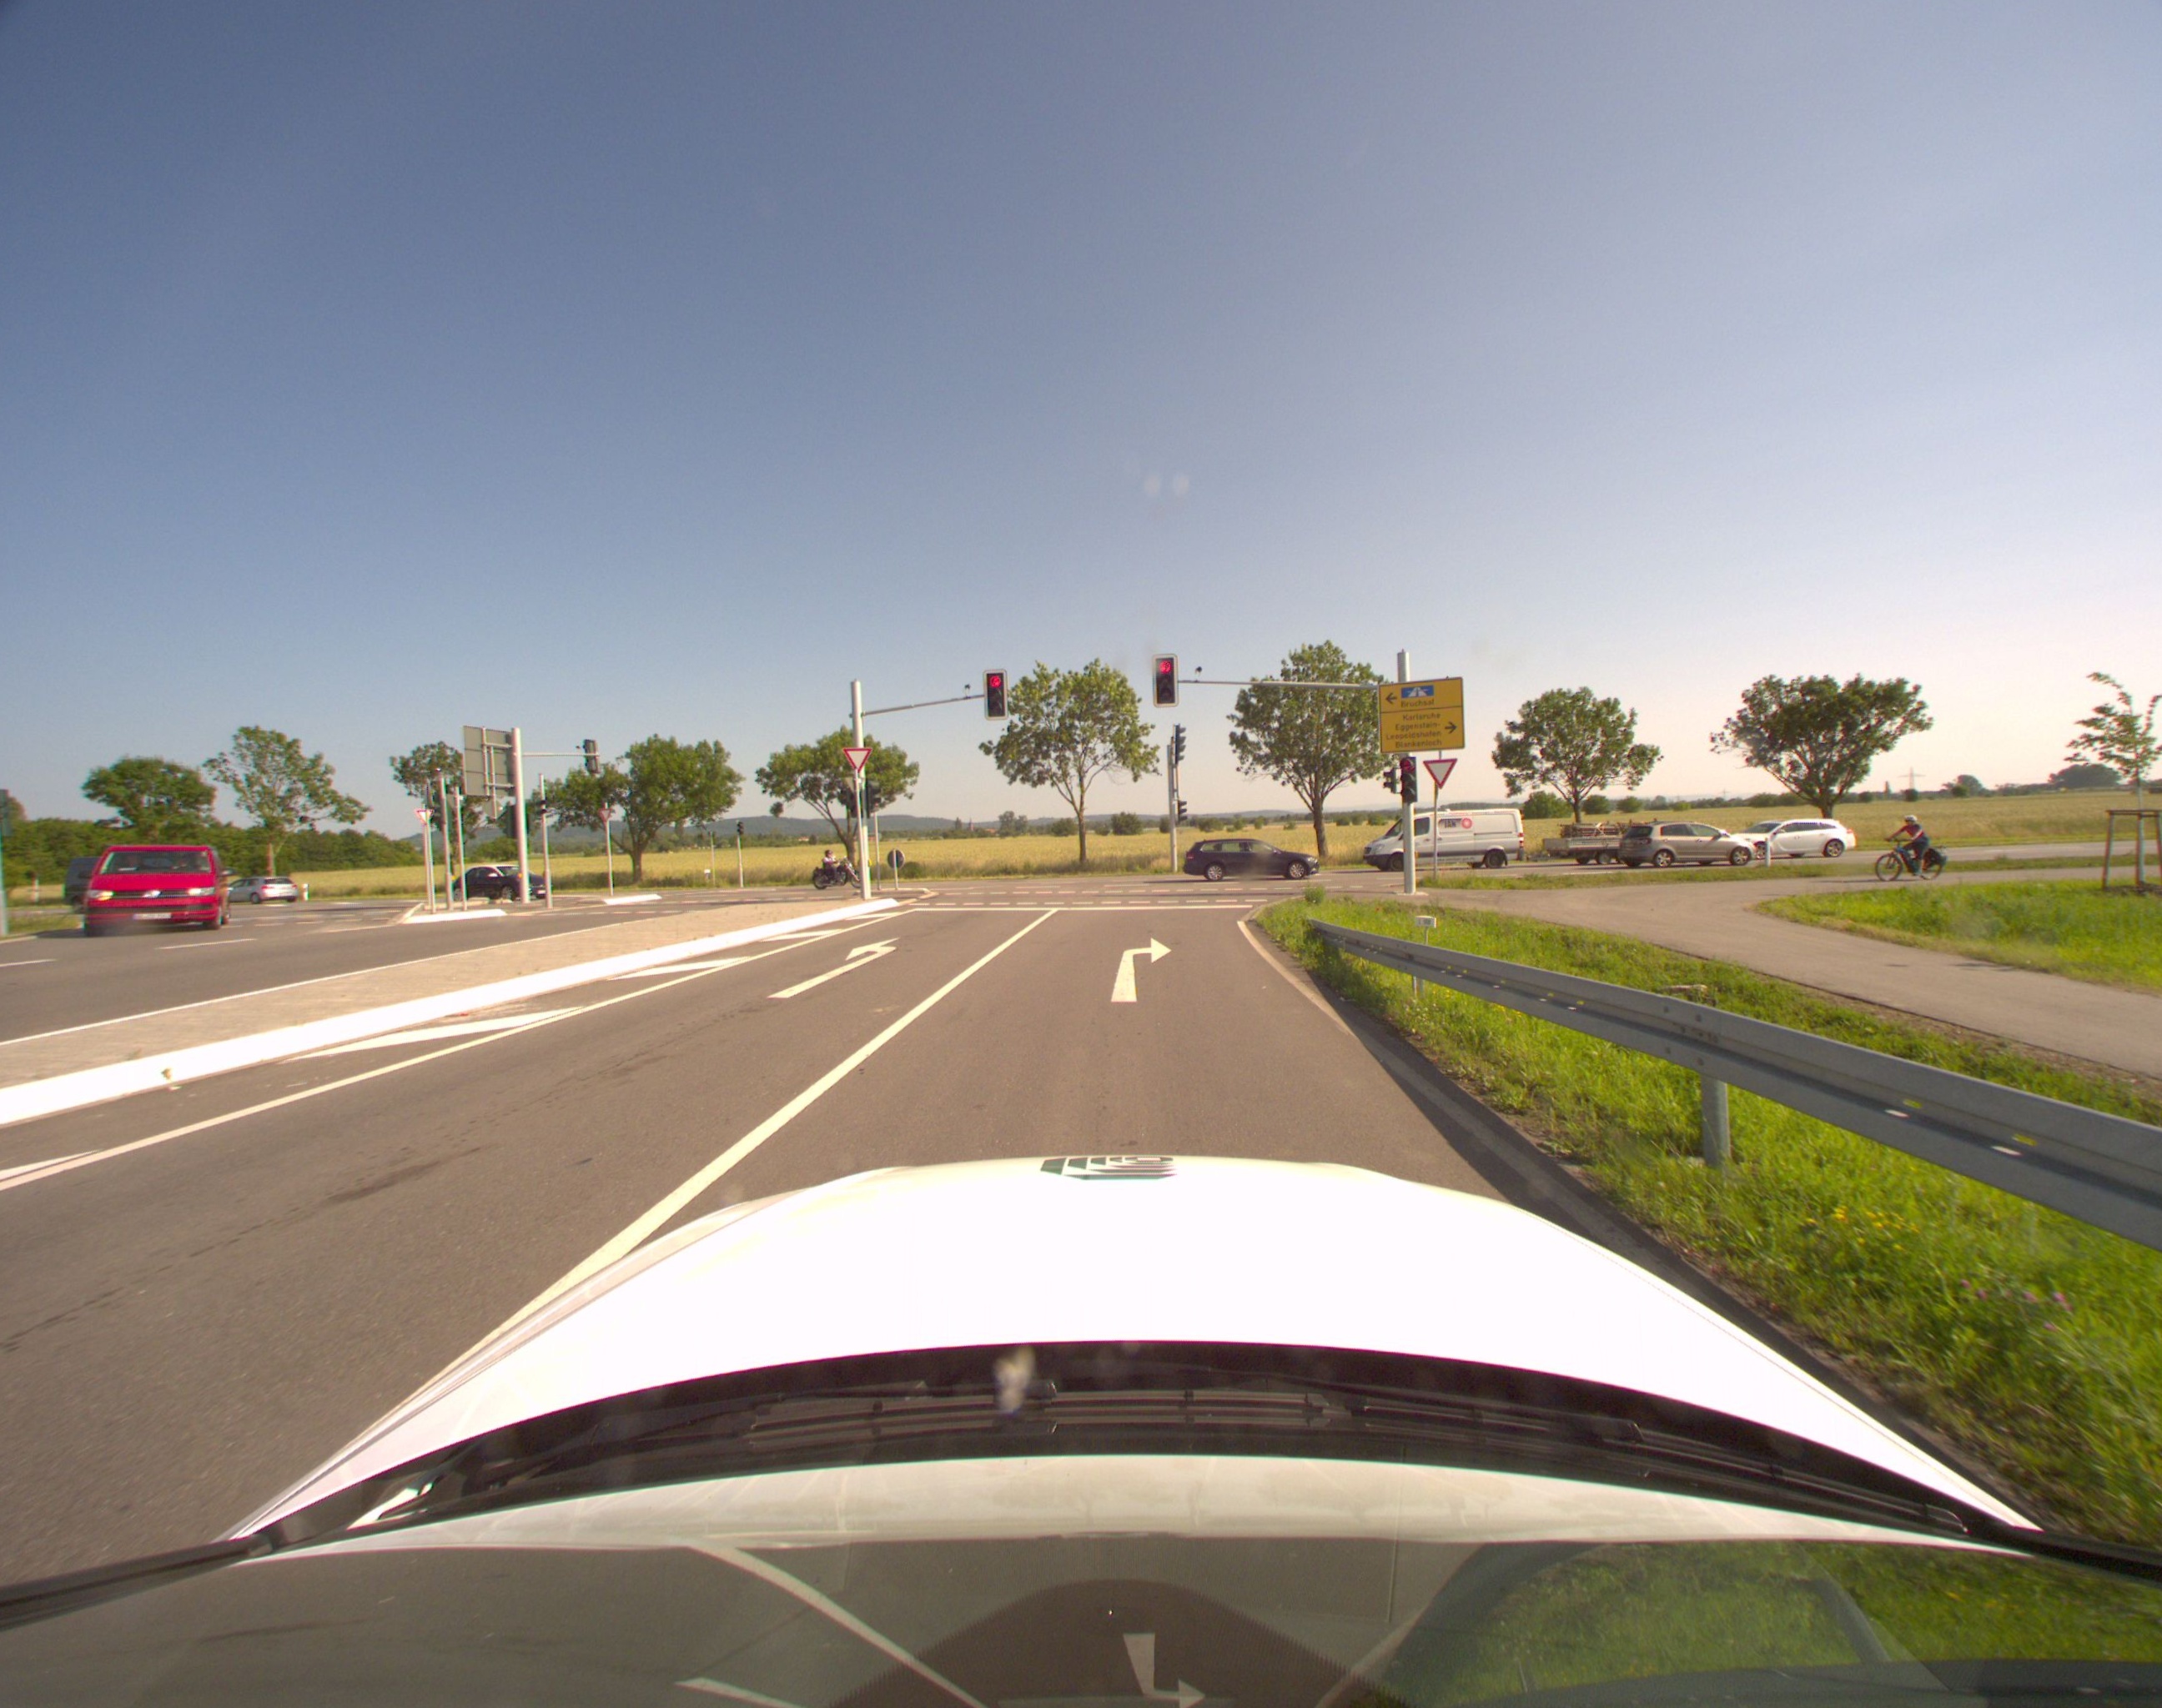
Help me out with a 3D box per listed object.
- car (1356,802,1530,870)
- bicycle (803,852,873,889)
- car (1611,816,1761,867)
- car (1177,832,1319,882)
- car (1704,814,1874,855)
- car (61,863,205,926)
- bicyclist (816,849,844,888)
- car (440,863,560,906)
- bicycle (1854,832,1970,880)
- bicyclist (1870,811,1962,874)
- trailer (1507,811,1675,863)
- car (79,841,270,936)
[{"bbox_3d":[14.102,-0.686,31.979,5.931,2.492,2.002,-1,0,3],"label":"car"},{"bbox_3d":[-9.403,0.631,31.536,2.483,1.397,0.732,-1,0,0],"label":"bicycle"},{"bbox_3d":[20.823,-0.427,28.119,3.944,1.668,1.763,-1,0,-2],"label":"car"},{"bbox_3d":[5.777,0.082,28.597,4.653,1.518,1.924,-2,2,3],"label":"car"},{"bbox_3d":[27.300,-0.742,31.538,4.851,1.510,2.000,-1,0,1],"label":"car"},{"bbox_3d":[-43.541,1.864,37.421,5.687,2.622,2.043,-2,1,16],"label":"car"},{"bbox_3d":[-9.702,0.553,31.467,0.805,1.489,0.758,-1,0,2],"label":"bicyclist"},{"bbox_3d":[-23.162,1.198,32.532,3.703,1.457,1.734,-3,2,11],"label":"car"},{"bbox_3d":[22.168,0.055,21.753,2.148,1.186,0.890,-2,0,1],"label":"bicycle"},{"bbox_3d":[22.275,-0.316,21.752,1.274,1.601,1.166,-1,2,1],"label":"bicyclist"},{"bbox_3d":[19.714,-0.661,31.657,5.237,1.753,1.956,-2,1,3],"label":"trailer"},{"bbox_3d":[-21.011,0.809,19.152,1.846,1.940,4.873,-1,-2,-34],"label":"car"}]
